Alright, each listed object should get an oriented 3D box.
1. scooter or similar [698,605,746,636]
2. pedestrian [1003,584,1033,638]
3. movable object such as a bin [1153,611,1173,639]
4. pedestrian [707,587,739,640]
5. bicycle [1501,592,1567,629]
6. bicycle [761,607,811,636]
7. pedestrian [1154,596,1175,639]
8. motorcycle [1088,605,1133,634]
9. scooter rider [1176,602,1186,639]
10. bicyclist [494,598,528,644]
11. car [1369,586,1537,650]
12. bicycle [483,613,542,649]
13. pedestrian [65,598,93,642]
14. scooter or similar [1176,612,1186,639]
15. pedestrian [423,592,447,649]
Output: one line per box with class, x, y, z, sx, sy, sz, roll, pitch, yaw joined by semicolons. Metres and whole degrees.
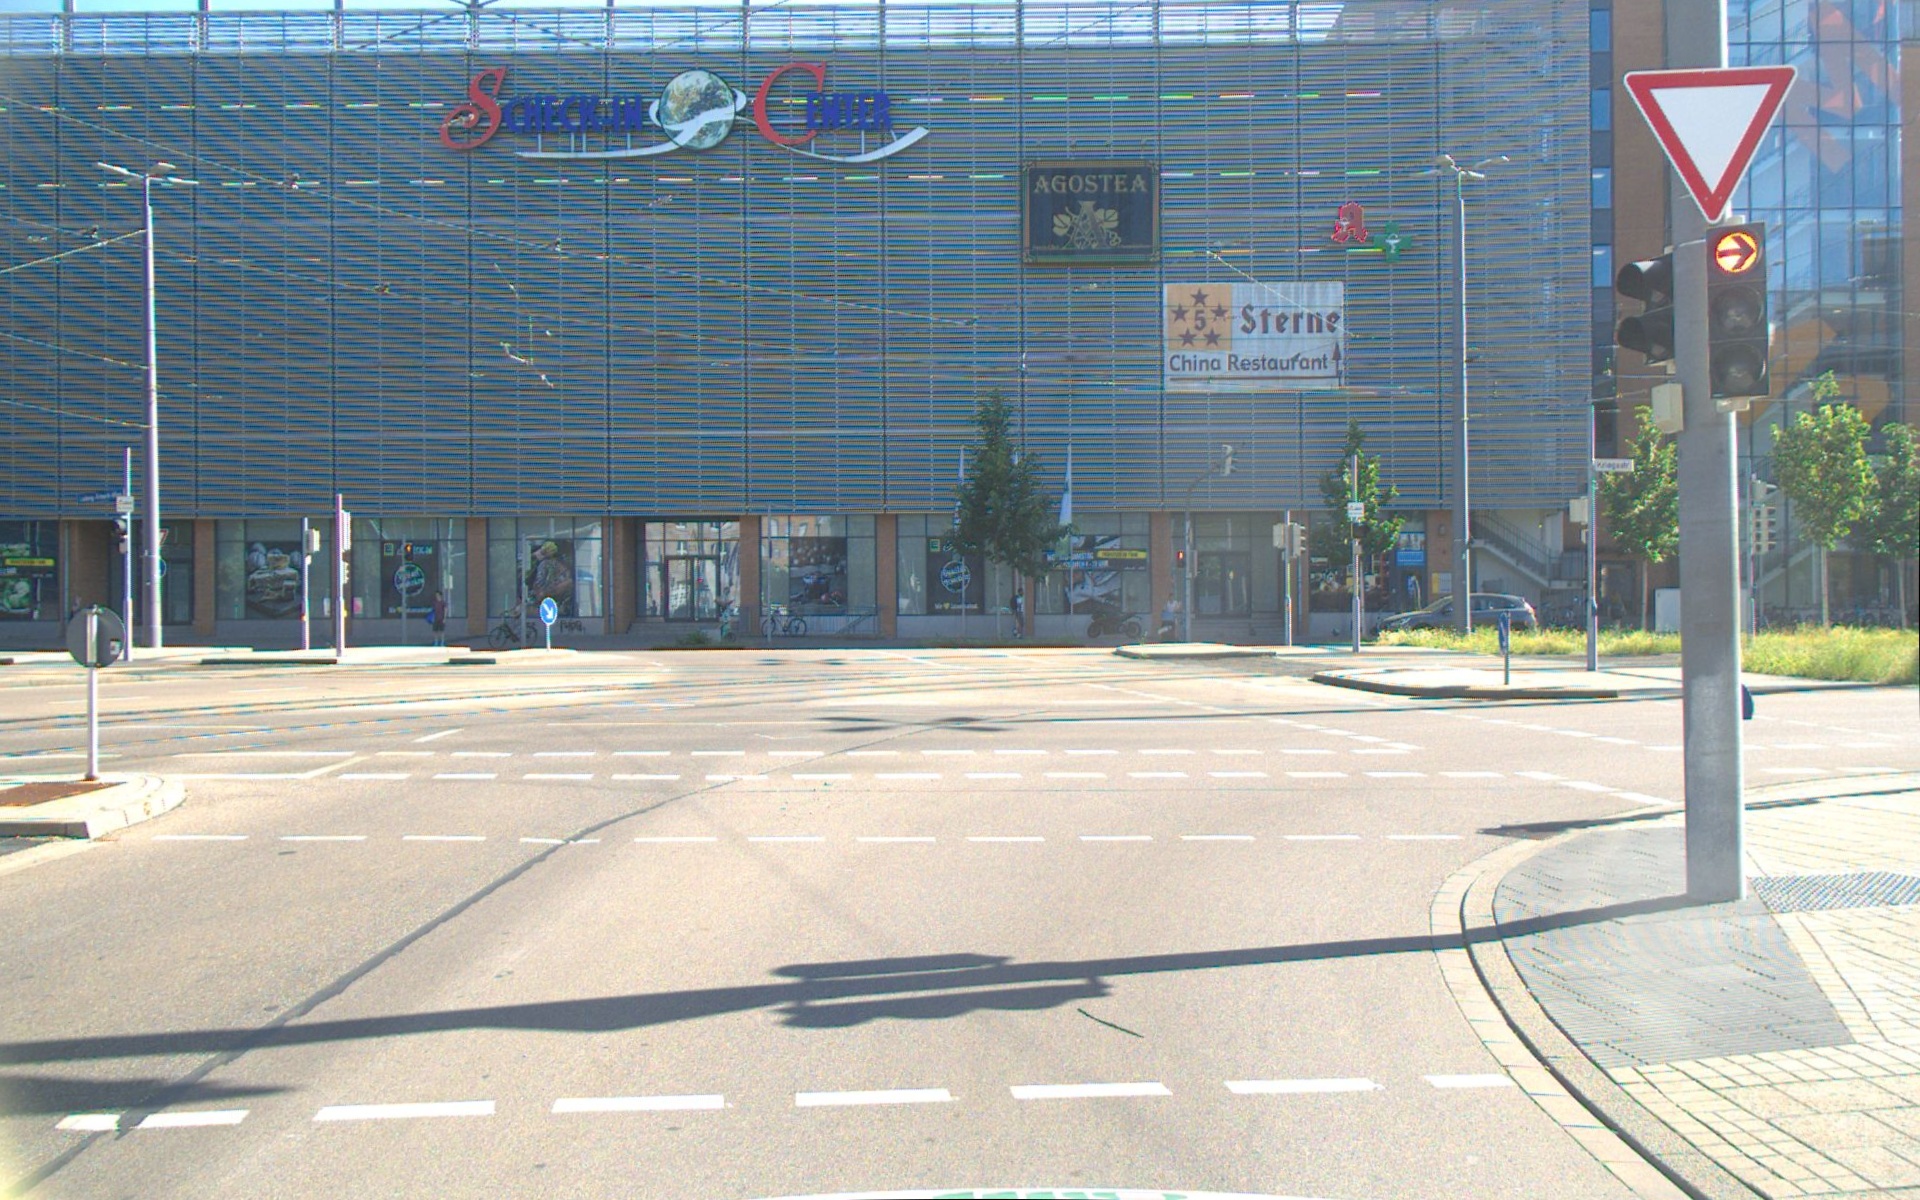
scooter or similar;-8.744;0.749;60.779;1.759;1.085;0.611;0;1;-9
pedestrian;2.090;0.390;59.106;0.991;1.860;1.036;-2;0;3
movable object such as a bin;6.744;0.833;54.897;0.599;0.920;0.970;1;0;10
pedestrian;-8.532;0.493;59.623;0.930;1.860;0.846;-2;0;5
bicycle;21.291;0.392;61.352;2.209;1.318;0.605;1;-1;-2
bicycle;-6.363;0.780;60.432;1.783;1.006;0.556;0;1;-11
pedestrian;6.859;0.579;55.363;0.641;1.438;0.850;1;0;10
motorcycle;5.531;0.729;60.707;1.605;1.022;0.447;1;0;6
scooter rider;7.362;0.668;55.130;0.282;1.221;0.386;1;-1;10
bicyclist;-14.797;0.691;54.543;0.663;1.452;0.844;0;2;42
car;13.672;0.497;46.046;4.063;1.495;1.840;3;-1;-2
bicycle;-14.765;1.008;54.618;0.559;1.105;1.852;0;2;42
pedestrian;-33.029;0.733;62.011;0.646;1.629;0.594;1;-1;18
scooter or similar;7.368;0.835;55.190;0.288;0.888;1.004;1;0;10
pedestrian;-17.336;0.664;54.667;0.683;1.829;0.727;-2;0;-17
